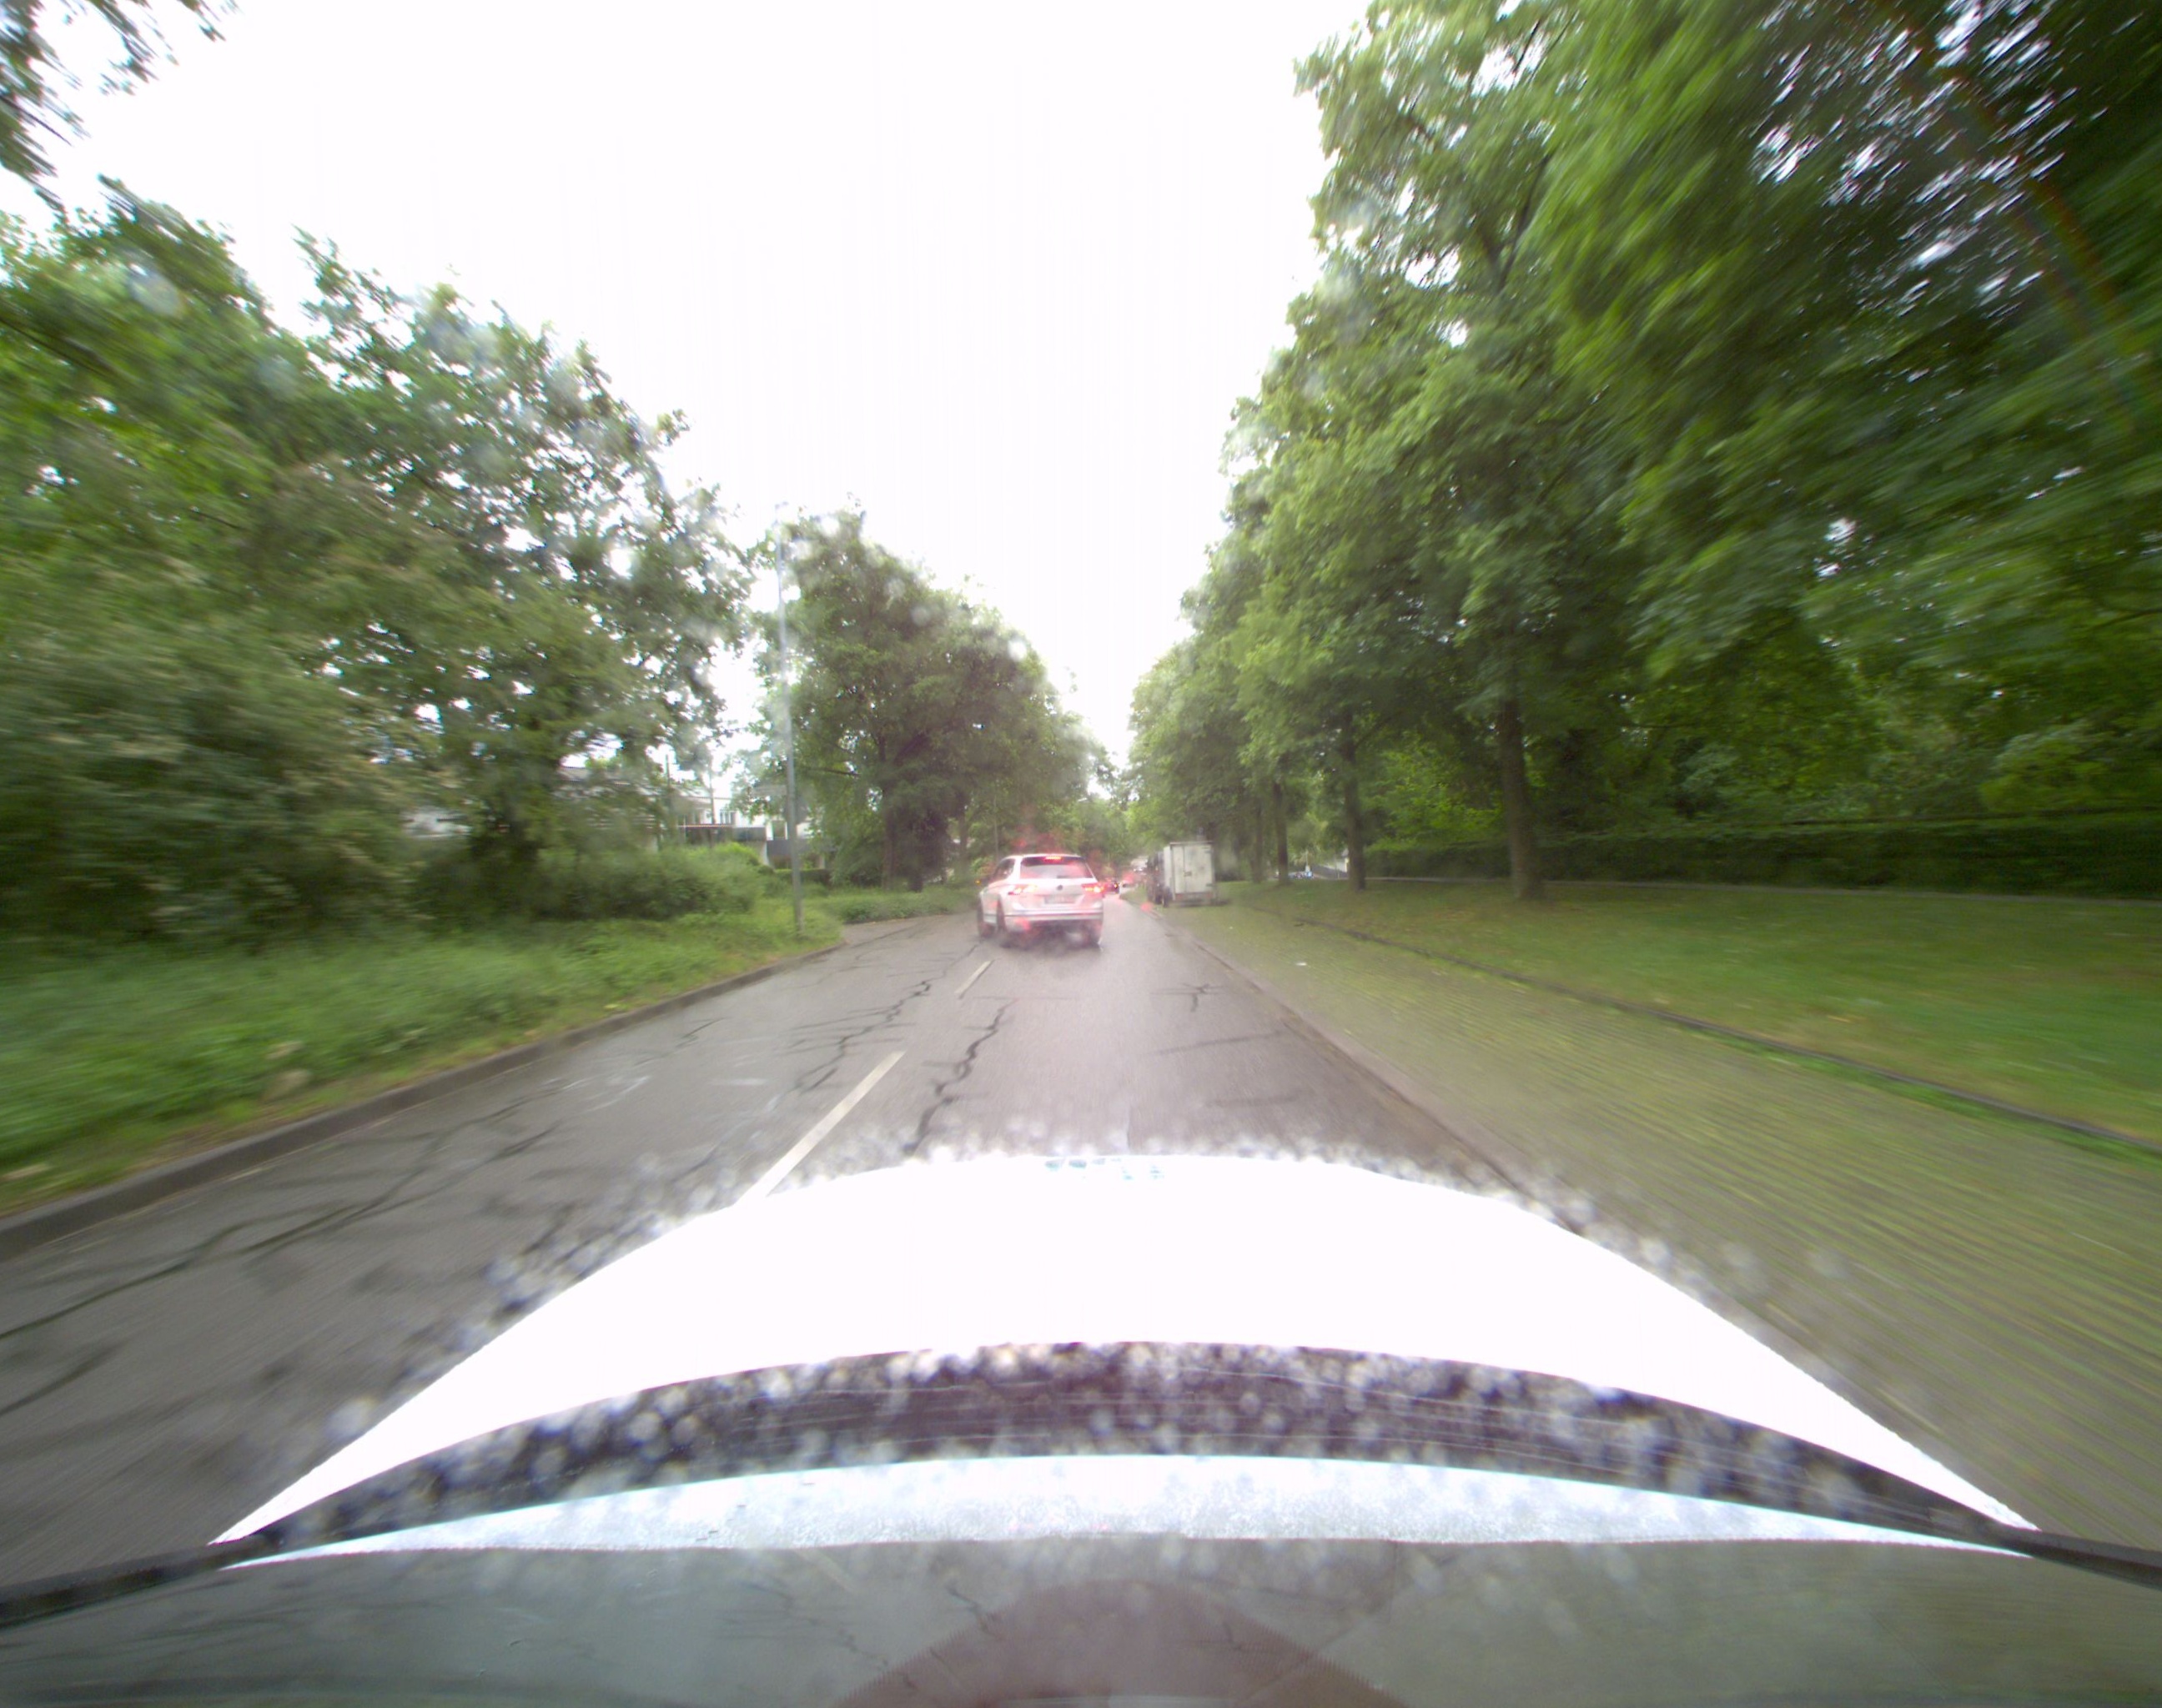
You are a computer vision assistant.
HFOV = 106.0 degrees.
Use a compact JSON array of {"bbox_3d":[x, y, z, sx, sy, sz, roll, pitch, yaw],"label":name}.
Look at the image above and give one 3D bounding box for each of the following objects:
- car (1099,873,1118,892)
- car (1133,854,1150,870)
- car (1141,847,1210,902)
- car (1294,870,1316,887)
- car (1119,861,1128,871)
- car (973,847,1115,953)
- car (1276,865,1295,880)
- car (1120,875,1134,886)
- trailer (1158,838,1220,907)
[{"bbox_3d":[3.177,3.295,94.613,1.988,2.014,3.998,-2,-2,-1],"label":"car"},{"bbox_3d":[8.786,1.190,118.680,1.987,2.014,3.998,-2,-2,-1],"label":"car"},{"bbox_3d":[3.636,0.829,32.287,1.987,1.910,5.507,-2,-2,0],"label":"car"},{"bbox_3d":[30.942,3.370,112.577,1.986,2.013,4.001,-3,0,1],"label":"car"},{"bbox_3d":[10.356,2.879,198.240,1.986,2.013,4.003,-2,3,2],"label":"car"},{"bbox_3d":[-0.877,0.808,15.843,1.908,1.685,4.180,-3,0,-14],"label":"car"},{"bbox_3d":[31.447,2.873,125.434,1.986,2.013,4.001,-3,0,1],"label":"car"},{"bbox_3d":[7.020,4.075,125.733,1.850,1.692,3.998,-2,-2,-1],"label":"car"},{"bbox_3d":[3.587,0.628,27.529,1.524,2.075,4.000,-4,-1,1],"label":"trailer"}]
